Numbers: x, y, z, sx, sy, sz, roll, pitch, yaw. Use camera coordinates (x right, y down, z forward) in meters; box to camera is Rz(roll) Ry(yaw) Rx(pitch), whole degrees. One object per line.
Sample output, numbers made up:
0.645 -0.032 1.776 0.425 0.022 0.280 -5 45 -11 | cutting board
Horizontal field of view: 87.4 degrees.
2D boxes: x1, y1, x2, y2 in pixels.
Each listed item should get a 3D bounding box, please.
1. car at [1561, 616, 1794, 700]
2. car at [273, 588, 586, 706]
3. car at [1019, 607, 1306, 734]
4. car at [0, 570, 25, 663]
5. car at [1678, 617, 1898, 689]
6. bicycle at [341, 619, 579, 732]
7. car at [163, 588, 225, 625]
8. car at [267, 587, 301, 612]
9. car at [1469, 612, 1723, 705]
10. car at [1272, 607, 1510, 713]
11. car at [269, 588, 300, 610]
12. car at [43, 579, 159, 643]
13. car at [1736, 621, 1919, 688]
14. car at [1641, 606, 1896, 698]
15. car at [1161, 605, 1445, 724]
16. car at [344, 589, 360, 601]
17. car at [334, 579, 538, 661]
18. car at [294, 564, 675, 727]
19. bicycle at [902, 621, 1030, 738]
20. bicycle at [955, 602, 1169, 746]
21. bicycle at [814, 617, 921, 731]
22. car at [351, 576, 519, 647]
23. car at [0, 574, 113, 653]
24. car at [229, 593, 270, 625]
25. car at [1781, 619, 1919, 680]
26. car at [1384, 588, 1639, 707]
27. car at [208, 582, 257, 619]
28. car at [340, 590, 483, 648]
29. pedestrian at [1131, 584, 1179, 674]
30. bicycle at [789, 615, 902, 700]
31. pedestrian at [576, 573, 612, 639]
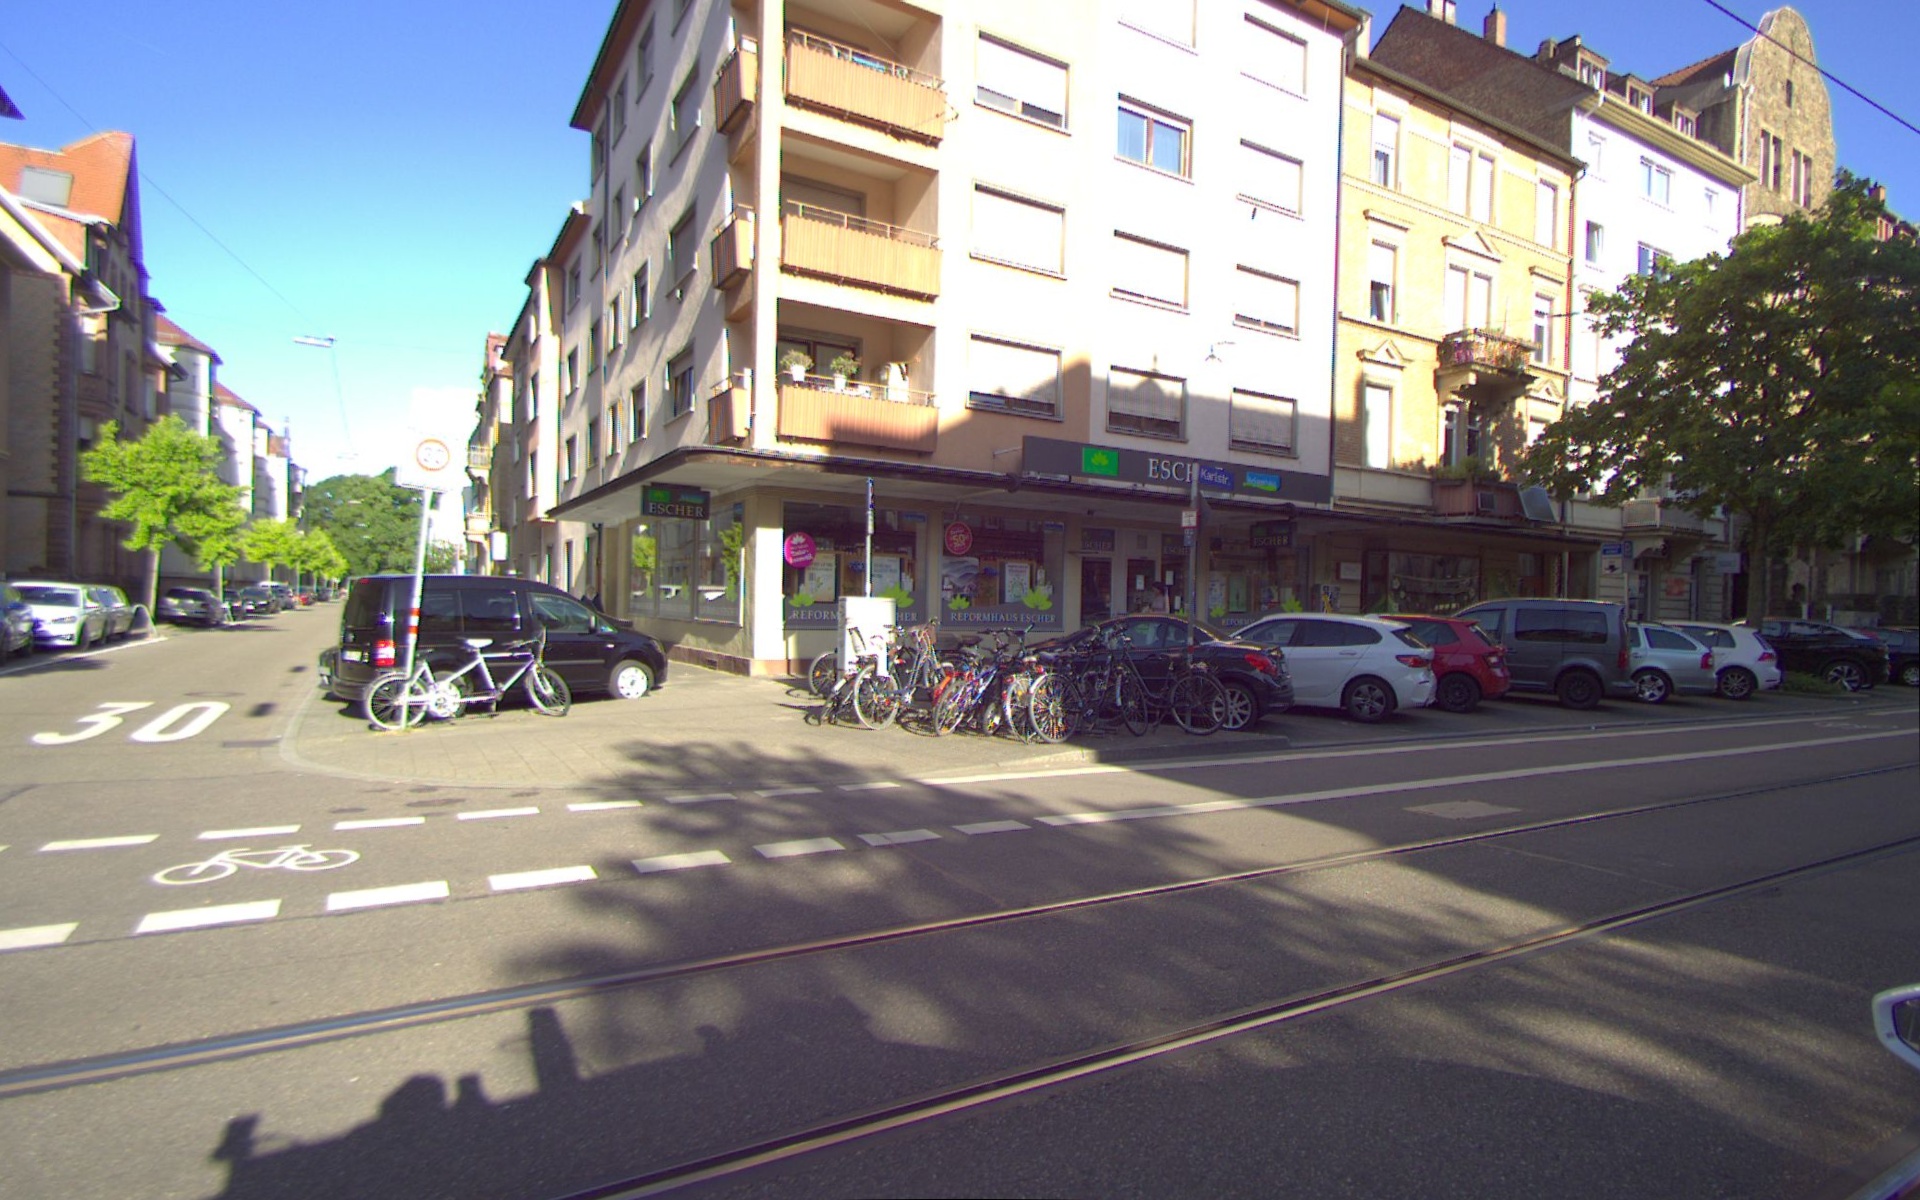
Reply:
14.899 1.138 21.084 3.780 1.449 1.760 3 1 35 | car
-8.107 0.613 15.751 1.816 1.411 3.992 2 4 29 | car
2.681 0.843 13.309 3.406 1.355 1.623 2 1 26 | car
-18.013 0.233 17.861 3.816 1.531 1.785 3 1 43 | car
20.762 1.278 25.430 3.926 1.509 1.865 2 1 28 | car
-5.796 0.831 11.761 2.413 1.124 0.676 -1 2 -37 | bicycle
-29.689 0.231 39.011 1.490 1.324 3.537 2 1 -31 | car
-46.194 -0.046 68.676 1.776 1.531 3.835 2 1 -32 | car
12.100 1.061 19.444 3.945 1.469 1.697 2 1 28 | car
7.089 0.907 16.577 3.410 1.493 1.645 1 0 31 | car
-49.924 -0.091 74.308 1.776 1.531 3.835 2 1 -32 | car
-22.779 0.263 26.786 1.776 1.531 3.835 2 1 -32 | car
23.309 1.408 26.695 3.926 1.509 1.804 2 1 28 | car
18.729 1.139 23.567 4.286 1.806 1.993 2 1 28 | car
5.052 0.857 14.835 3.722 1.419 1.752 2 1 27 | car
-82.609 -0.636 136.525 1.708 1.506 3.680 2 1 -31 | car
-11.975 0.377 23.244 1.659 1.577 3.996 2 3 25 | car
-6.330 0.485 13.833 1.821 1.842 4.338 -2 1 39 | car
0.111 0.858 11.552 0.671 1.139 1.884 1 2 29 | bicycle
1.124 0.714 10.669 2.410 1.337 0.677 -1 2 -35 | bicycle
-1.062 0.823 12.178 0.670 1.124 2.436 0 2 10 | bicycle
-14.695 0.258 28.355 1.659 1.737 3.996 2 3 25 | car
-20.201 0.255 22.232 3.816 1.531 1.785 3 1 43 | car
-38.736 0.499 54.804 1.490 1.591 3.537 2 1 -31 | car
25.753 1.392 28.209 3.931 1.509 1.802 3 1 32 | car
9.698 0.773 17.926 3.752 1.808 1.795 2 1 28 | car
-33.891 0.017 46.844 1.490 1.591 3.537 2 1 -31 | car
-16.518 0.520 30.436 1.588 1.477 3.546 2 3 25 | car
3.744 0.551 19.307 0.634 1.674 0.566 2 1 -30 | pedestrian
-1.591 0.797 14.288 0.398 1.124 1.830 2 0 38 | bicycle
-9.421 0.154 25.881 0.755 1.682 0.493 2 1 -30 | pedestrian
